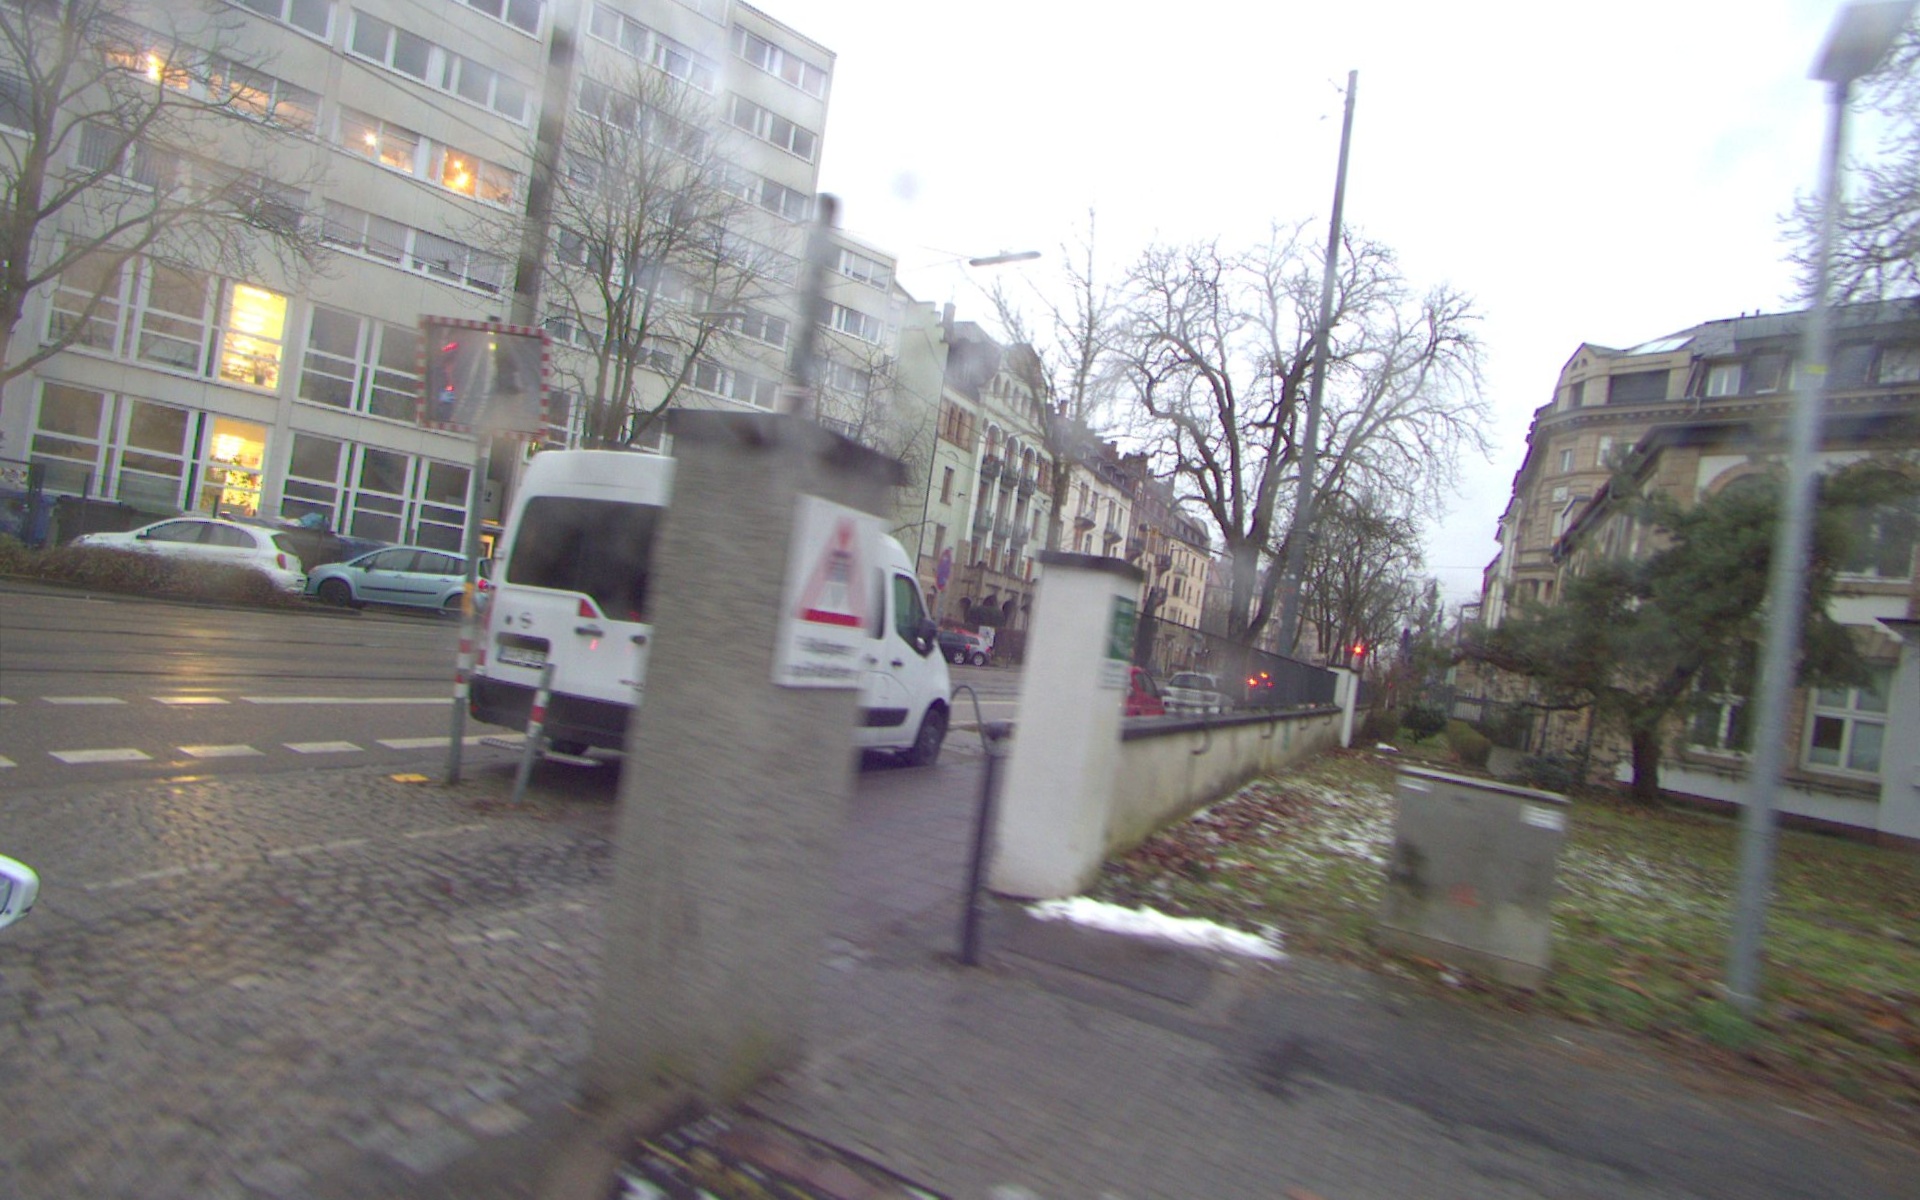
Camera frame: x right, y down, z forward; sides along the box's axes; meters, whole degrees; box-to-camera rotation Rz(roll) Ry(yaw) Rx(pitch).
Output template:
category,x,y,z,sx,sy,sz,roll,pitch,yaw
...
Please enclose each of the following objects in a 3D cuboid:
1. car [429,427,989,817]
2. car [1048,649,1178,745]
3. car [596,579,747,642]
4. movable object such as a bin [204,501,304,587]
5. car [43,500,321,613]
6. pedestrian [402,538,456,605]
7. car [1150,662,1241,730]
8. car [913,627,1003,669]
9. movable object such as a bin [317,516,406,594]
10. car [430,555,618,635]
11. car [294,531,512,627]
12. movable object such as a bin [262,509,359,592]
category,x,y,z,sx,sy,sz,roll,pitch,yaw
car,-1.819,0.270,9.615,2.092,2.516,5.438,7,-1,23
car,3.234,1.952,20.670,1.618,1.541,3.572,9,-1,23
car,-9.086,0.333,31.675,4.291,1.367,1.741,8,-2,-23
movable object such as a bin,-17.617,-1.389,25.118,1.547,1.883,1.316,7,1,27
car,-15.079,-0.808,19.754,3.822,1.570,1.686,8,-1,-19
pedestrian,-14.581,-0.774,27.630,0.588,1.697,0.972,7,0,25
car,6.670,2.663,28.275,1.666,1.537,3.637,7,-1,24
car,-0.123,2.366,49.732,3.941,1.445,1.842,8,-1,-17
movable object such as a bin,-16.409,-1.218,27.582,1.547,1.883,1.316,7,1,27
car,-11.086,-0.095,25.824,3.931,1.460,1.736,8,-2,-7
car,-12.669,-0.447,23.153,3.940,1.582,1.731,8,-1,-16
movable object such as a bin,-17.016,-1.280,26.376,1.547,1.883,1.392,7,1,27
